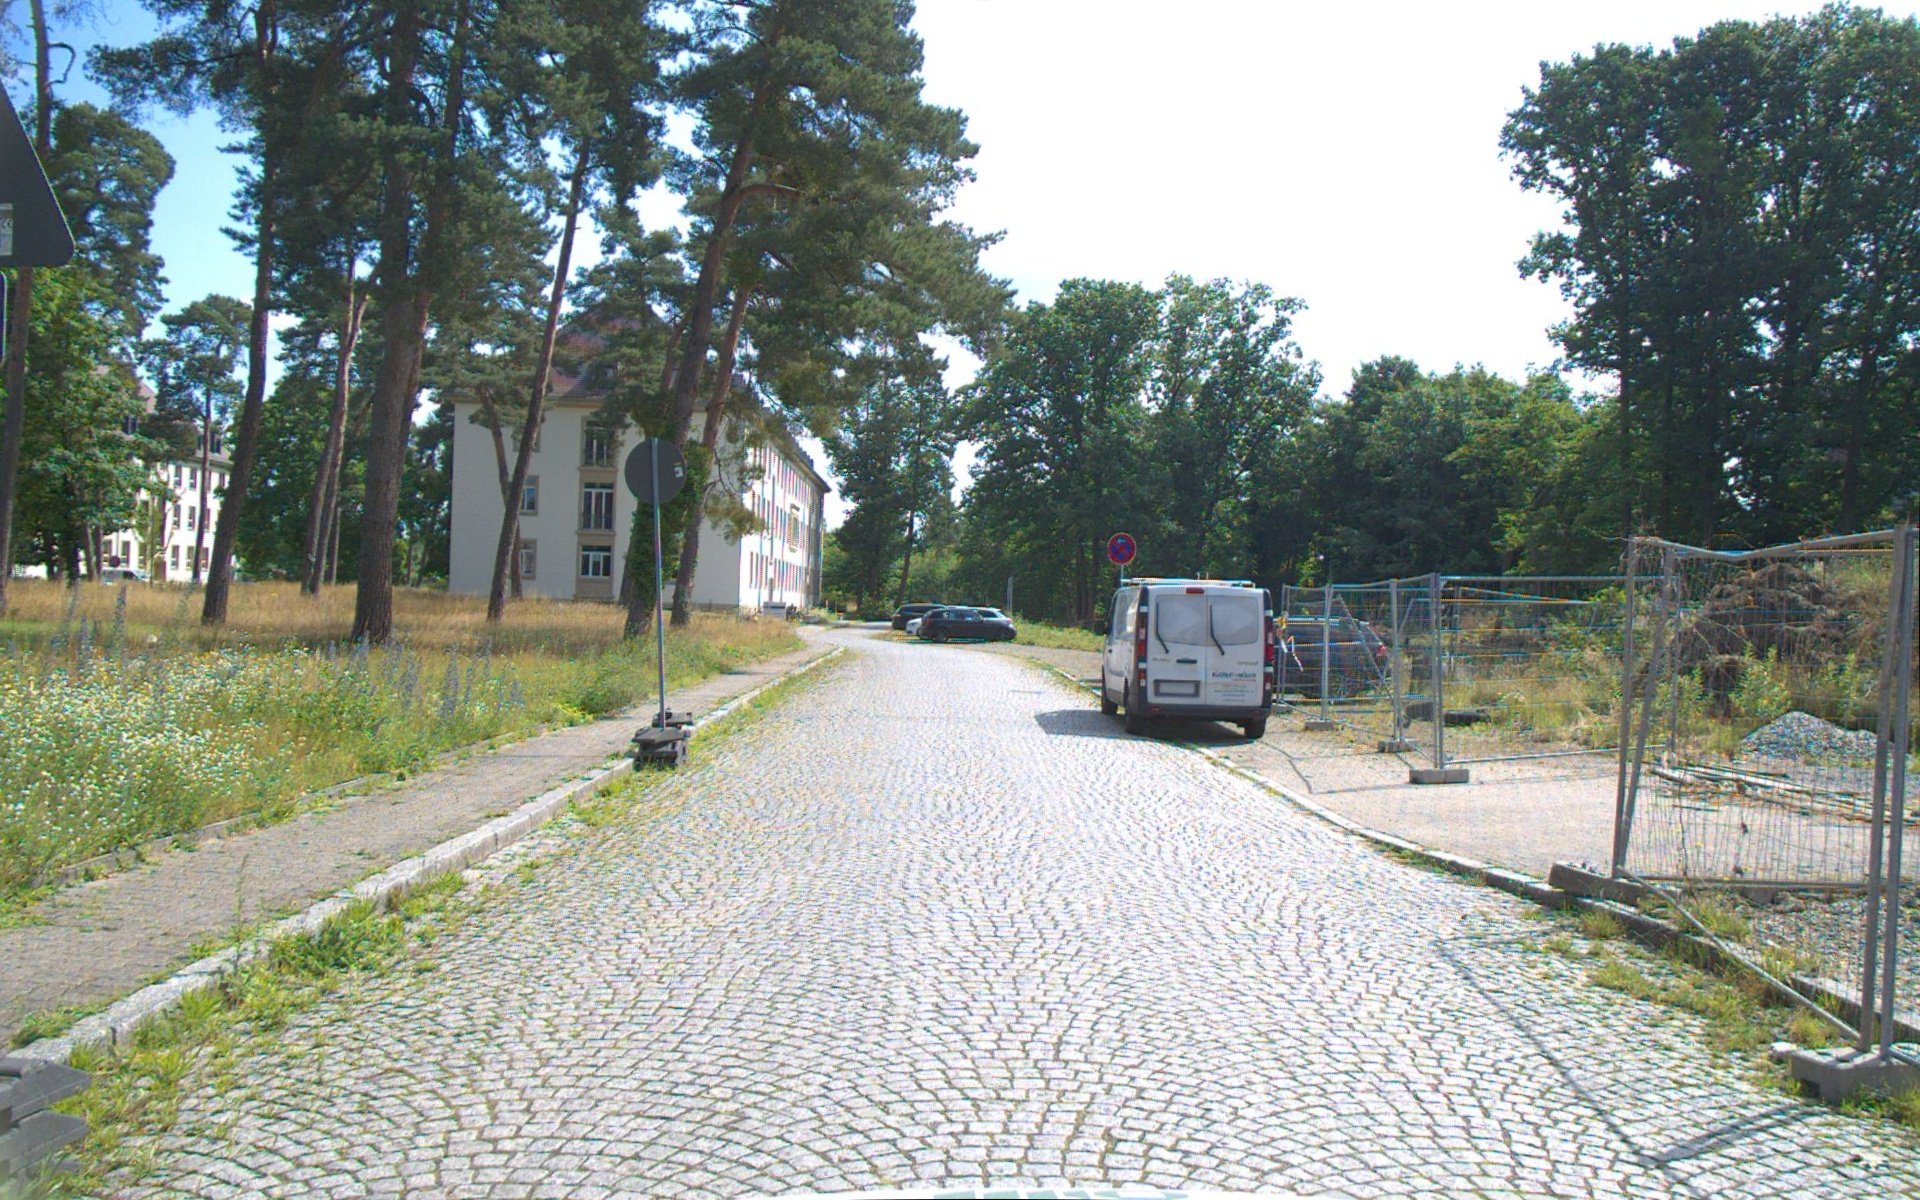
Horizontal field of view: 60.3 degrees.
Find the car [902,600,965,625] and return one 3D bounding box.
[{"bbox_3d":[-1.722,0.838,109.435,4.101,1.570,1.820,0,-1,0],"label":"car"}]

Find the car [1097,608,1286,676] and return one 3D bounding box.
[{"bbox_3d":[5.184,0.928,37.343,3.962,1.489,1.703,0,0,-4],"label":"car"}]

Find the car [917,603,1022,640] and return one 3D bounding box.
[{"bbox_3d":[0.380,0.909,70.846,4.245,1.526,1.826,0,0,-10],"label":"car"}]

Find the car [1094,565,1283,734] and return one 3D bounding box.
[{"bbox_3d":[3.103,0.645,23.635,1.875,2.089,5.678,1,0,0],"label":"car"}]

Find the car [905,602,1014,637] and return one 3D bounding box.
[{"bbox_3d":[-0.045,0.849,73.991,4.765,1.498,1.873,0,0,-3],"label":"car"}]

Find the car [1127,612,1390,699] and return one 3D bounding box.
[{"bbox_3d":[5.302,0.964,29.671,4.367,1.501,1.743,0,0,-6],"label":"car"}]

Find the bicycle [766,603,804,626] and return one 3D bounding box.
[{"bbox_3d":[-10.391,0.851,98.193,2.176,1.282,0.623,1,-1,1],"label":"bicycle"}]

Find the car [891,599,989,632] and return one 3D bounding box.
[{"bbox_3d":[-1.009,0.749,81.322,4.756,1.580,1.878,0,-1,-3],"label":"car"}]

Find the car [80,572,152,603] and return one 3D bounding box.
[{"bbox_3d":[-57.751,-0.859,113.215,3.976,2.026,1.713,1,-1,-1],"label":"car"}]
